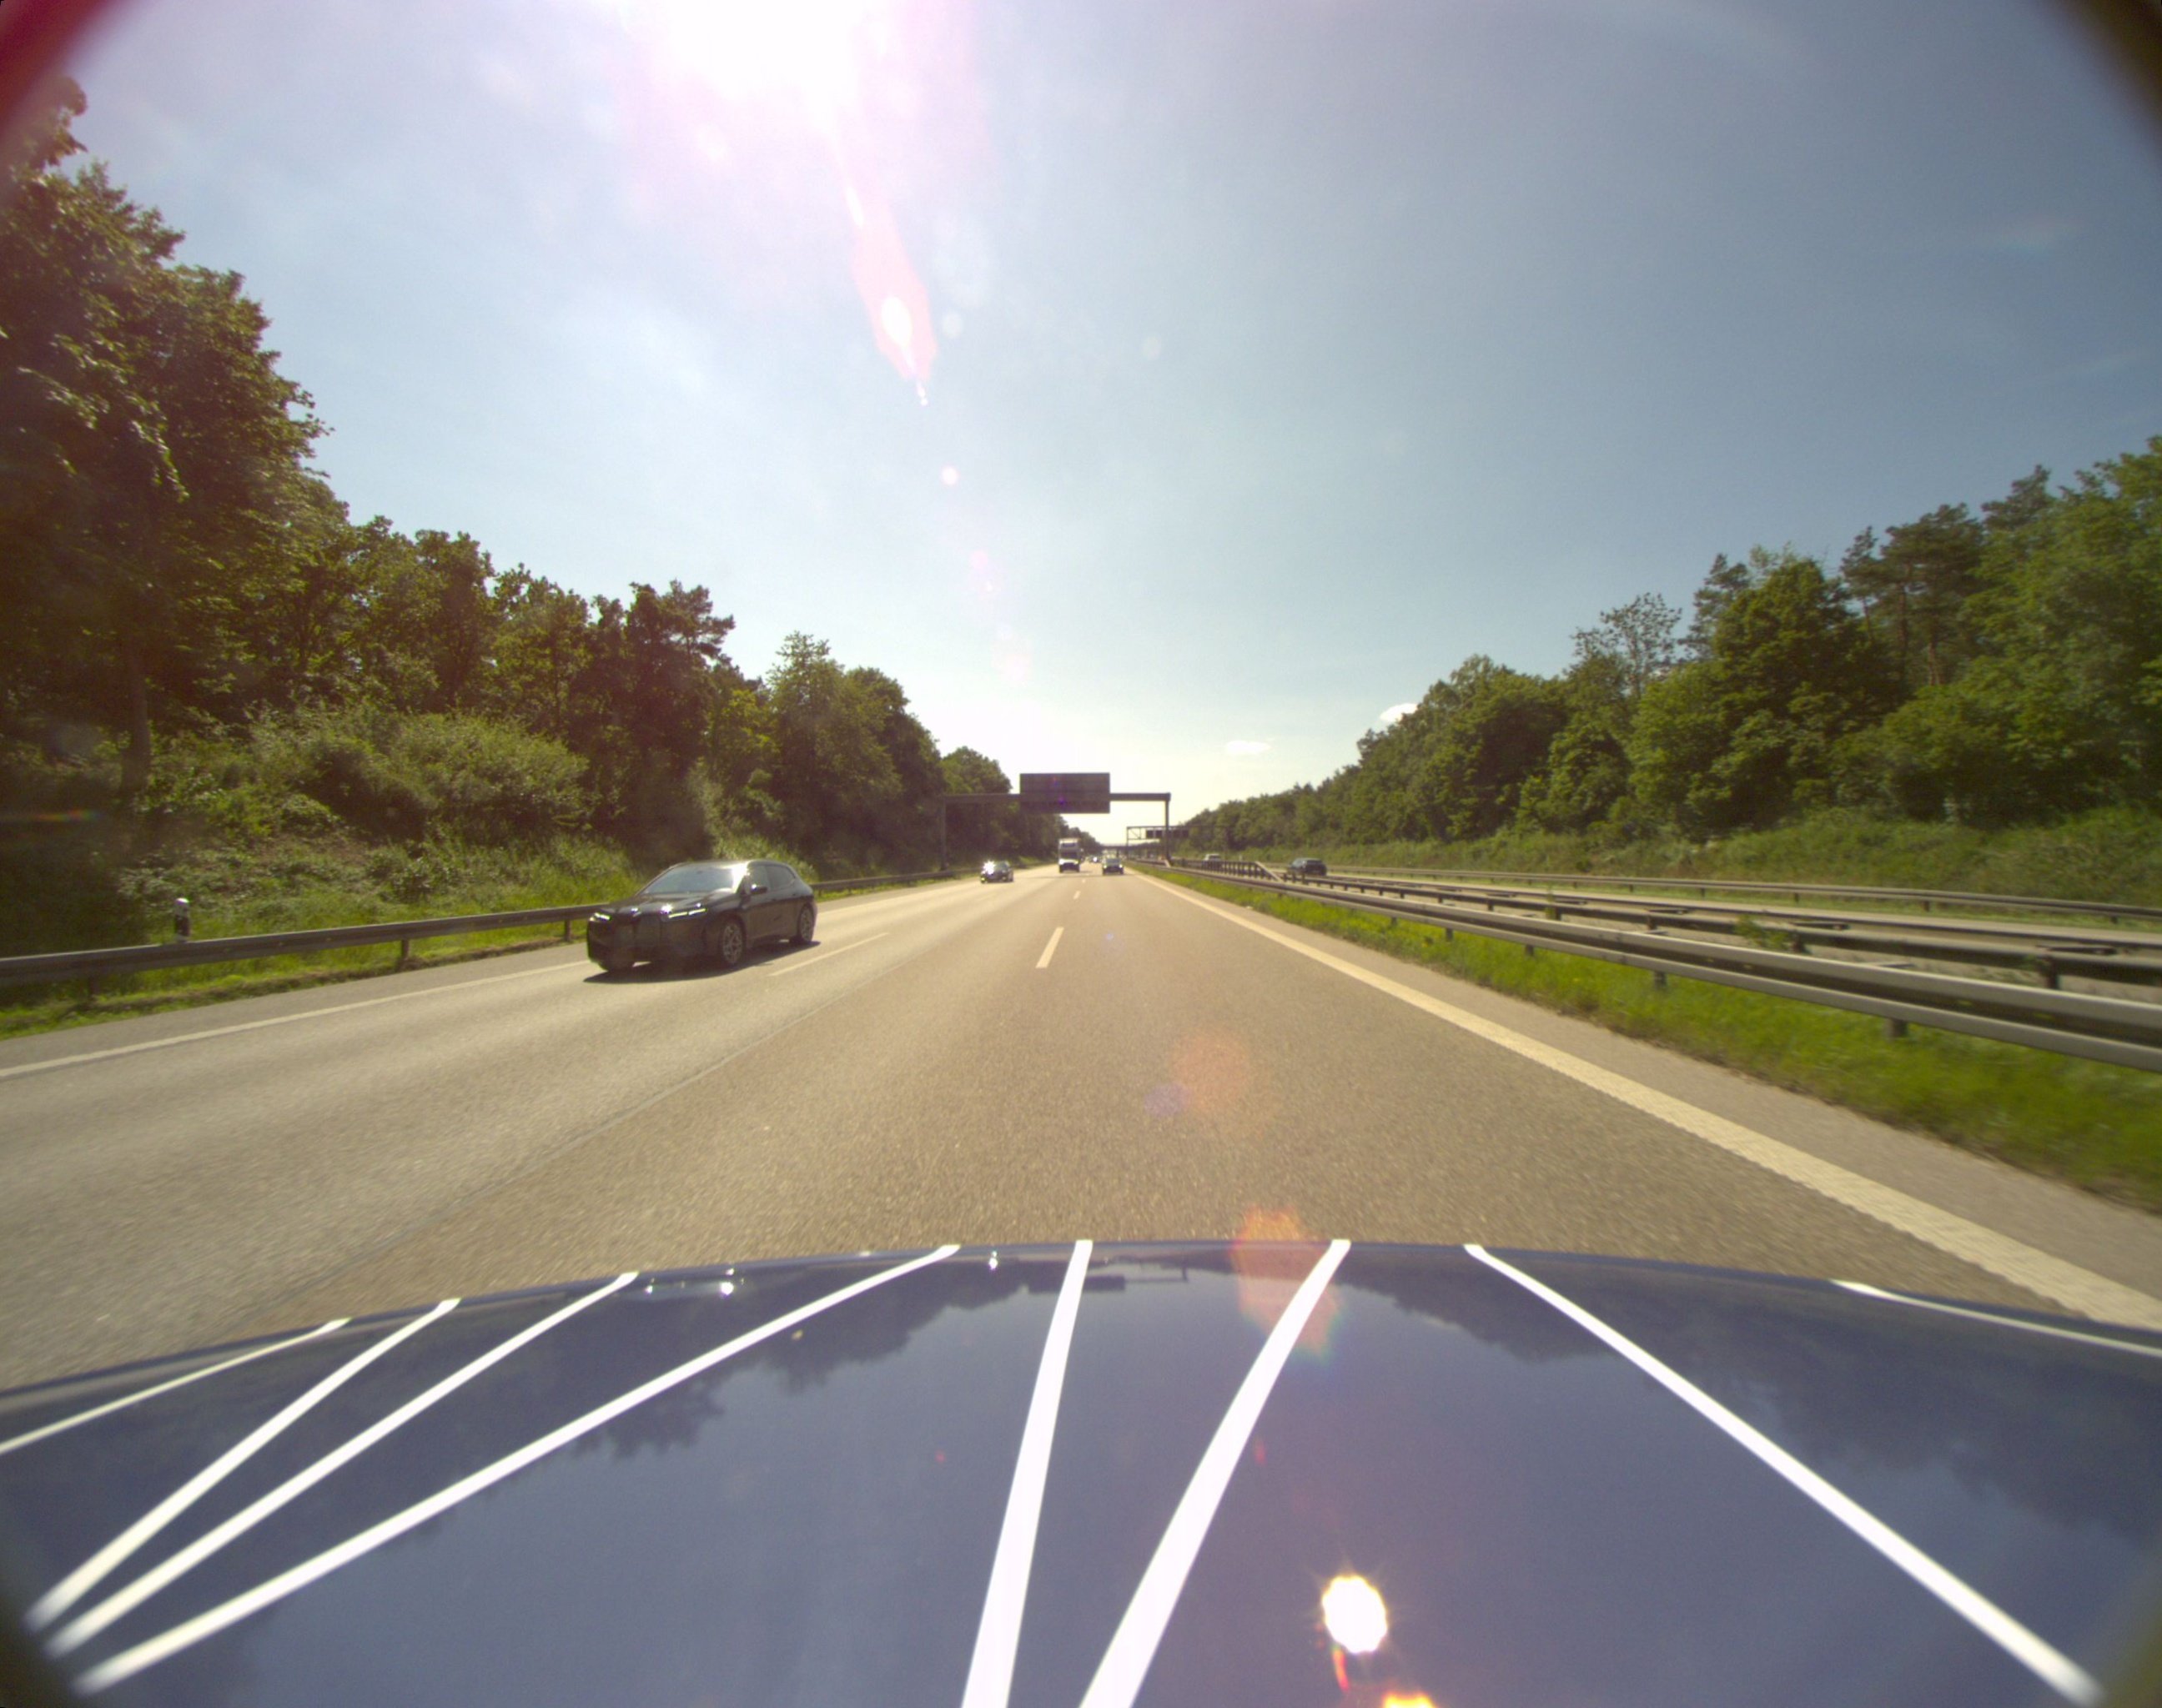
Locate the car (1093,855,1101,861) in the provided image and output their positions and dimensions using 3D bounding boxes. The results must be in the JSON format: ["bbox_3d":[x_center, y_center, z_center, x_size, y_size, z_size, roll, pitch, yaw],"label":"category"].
[{"bbox_3d":[3.873,0.946,182.961,1.831,1.346,3.679,0,0,1],"label":"car"}]

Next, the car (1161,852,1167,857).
[{"bbox_3d":[25.742,0.245,236.505,1.505,1.462,3.399,0,0,1],"label":"car"}]

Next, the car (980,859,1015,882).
[{"bbox_3d":[-5.633,1.099,51.907,1.916,1.390,4.137,-1,0,0],"label":"car"}]

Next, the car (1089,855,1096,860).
[{"bbox_3d":[3.013,0.829,197.410,1.831,1.346,3.679,0,0,1],"label":"car"}]

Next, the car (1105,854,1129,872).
[{"bbox_3d":[3.007,0.756,64.531,1.814,1.483,3.728,-1,0,0],"label":"car"}]

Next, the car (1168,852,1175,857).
[{"bbox_3d":[25.257,0.081,212.116,1.542,1.486,3.389,-1,0,0],"label":"car"}]

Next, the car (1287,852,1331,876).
[{"bbox_3d":[15.797,0.690,52.825,1.760,1.559,4.429,1,0,1],"label":"car"}]

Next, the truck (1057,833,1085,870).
[{"bbox_3d":[-0.999,-0.310,79.396,2.676,3.661,6.483,-1,0,0],"label":"truck"}]

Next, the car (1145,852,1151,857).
[{"bbox_3d":[22.024,0.213,249.766,1.776,1.405,3.845,2,0,0],"label":"car"}]

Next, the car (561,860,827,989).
[{"bbox_3d":[-6.159,0.999,12.902,1.924,1.659,4.687,-2,0,2],"label":"car"}]

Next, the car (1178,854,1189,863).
[{"bbox_3d":[18.527,0.801,137.455,1.599,1.433,3.542,1,0,0],"label":"car"}]

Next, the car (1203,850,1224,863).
[{"bbox_3d":[17.161,0.326,98.651,1.782,1.624,5.540,1,0,2],"label":"car"}]

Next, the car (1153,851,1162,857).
[{"bbox_3d":[21.673,0.053,215.154,1.949,1.701,3.796,-1,0,0],"label":"car"}]
